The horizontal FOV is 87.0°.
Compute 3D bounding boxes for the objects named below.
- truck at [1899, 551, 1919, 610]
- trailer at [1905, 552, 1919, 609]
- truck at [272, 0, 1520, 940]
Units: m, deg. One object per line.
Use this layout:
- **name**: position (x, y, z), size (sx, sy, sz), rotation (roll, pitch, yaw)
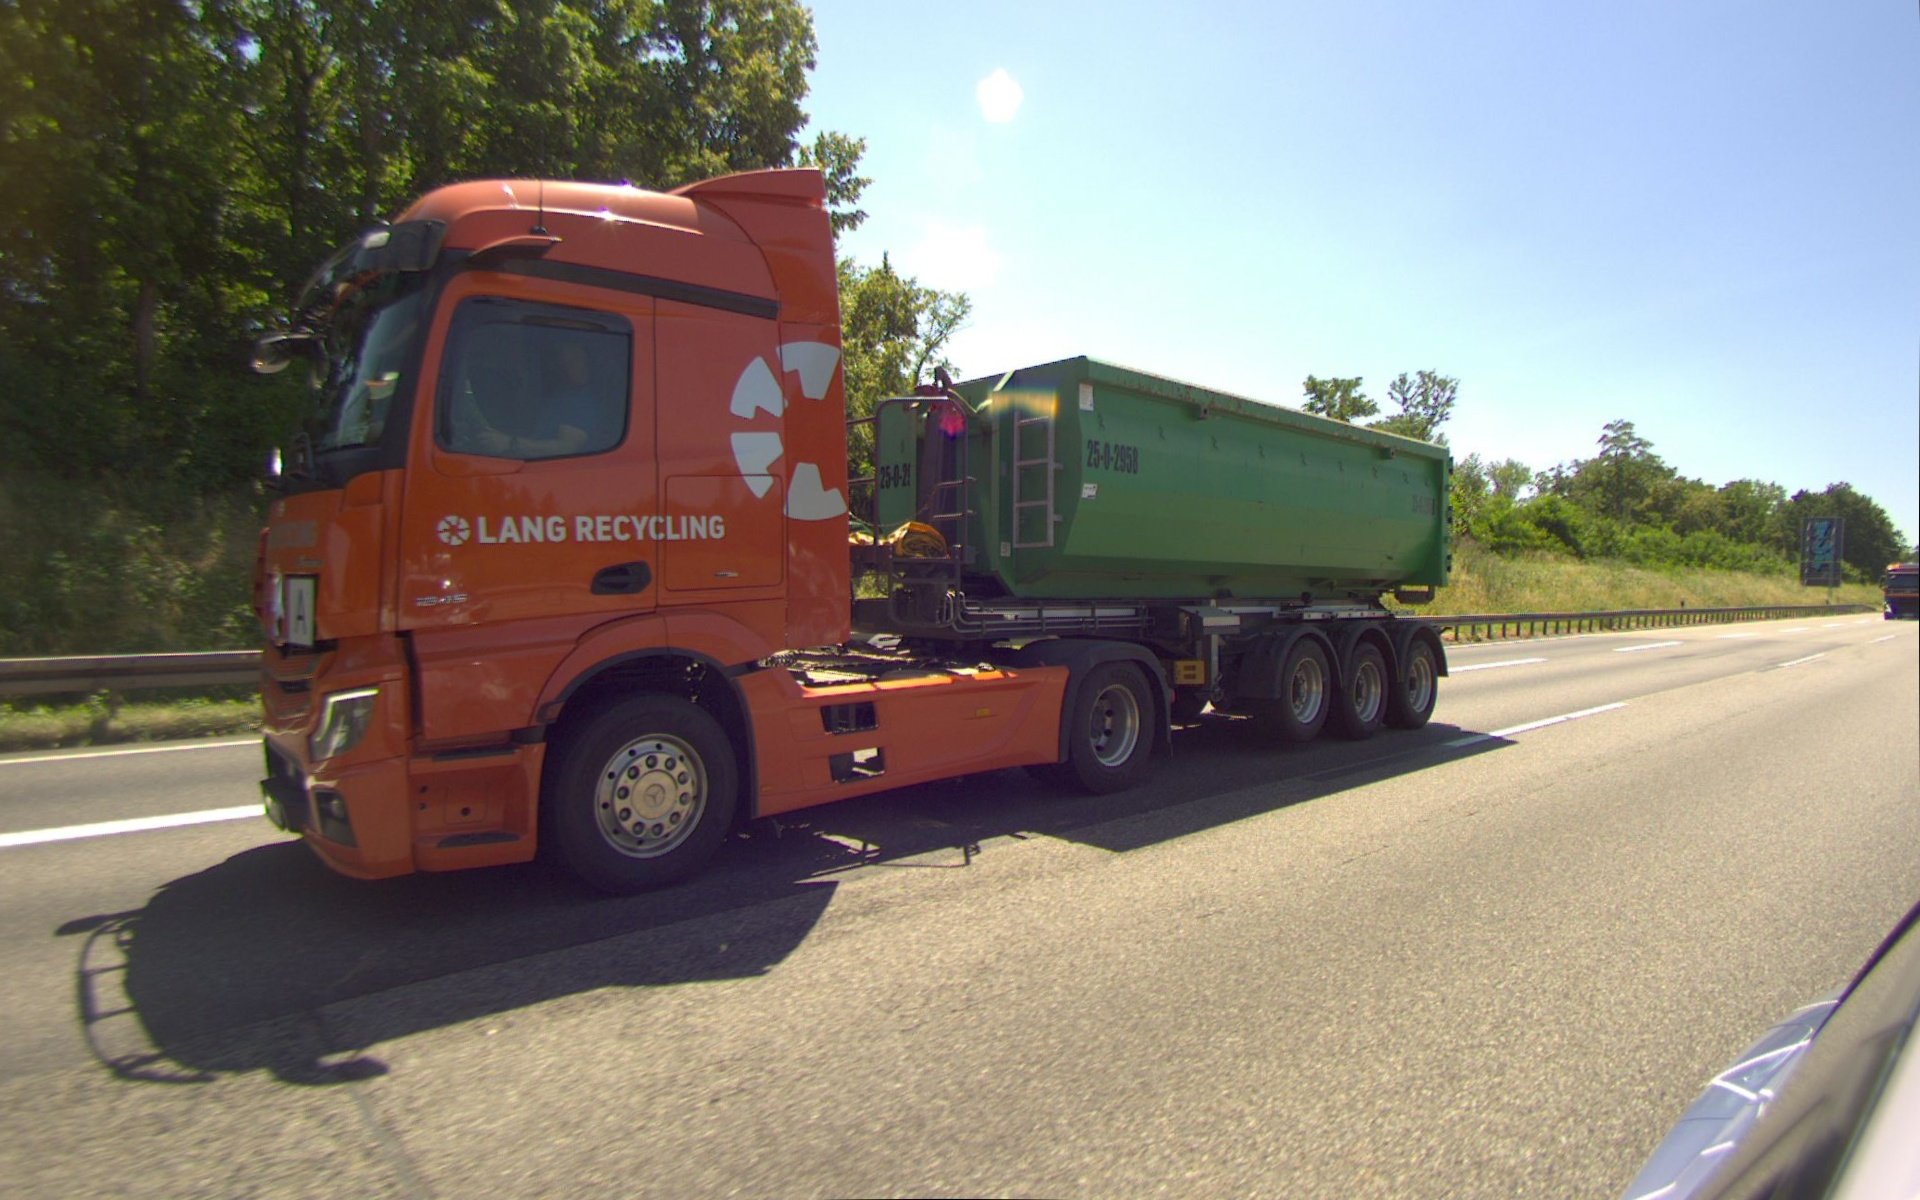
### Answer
- **truck**: position (64.217, -1.283, 66.989), size (5.994, 3.781, 2.532), rotation (0, 0, -42)
- **trailer**: position (68.441, -1.307, 70.796), size (11.351, 3.781, 2.532), rotation (0, 0, -42)
- **truck**: position (1.340, -0.614, 9.132), size (12.263, 3.846, 2.685), rotation (0, 0, -42)
